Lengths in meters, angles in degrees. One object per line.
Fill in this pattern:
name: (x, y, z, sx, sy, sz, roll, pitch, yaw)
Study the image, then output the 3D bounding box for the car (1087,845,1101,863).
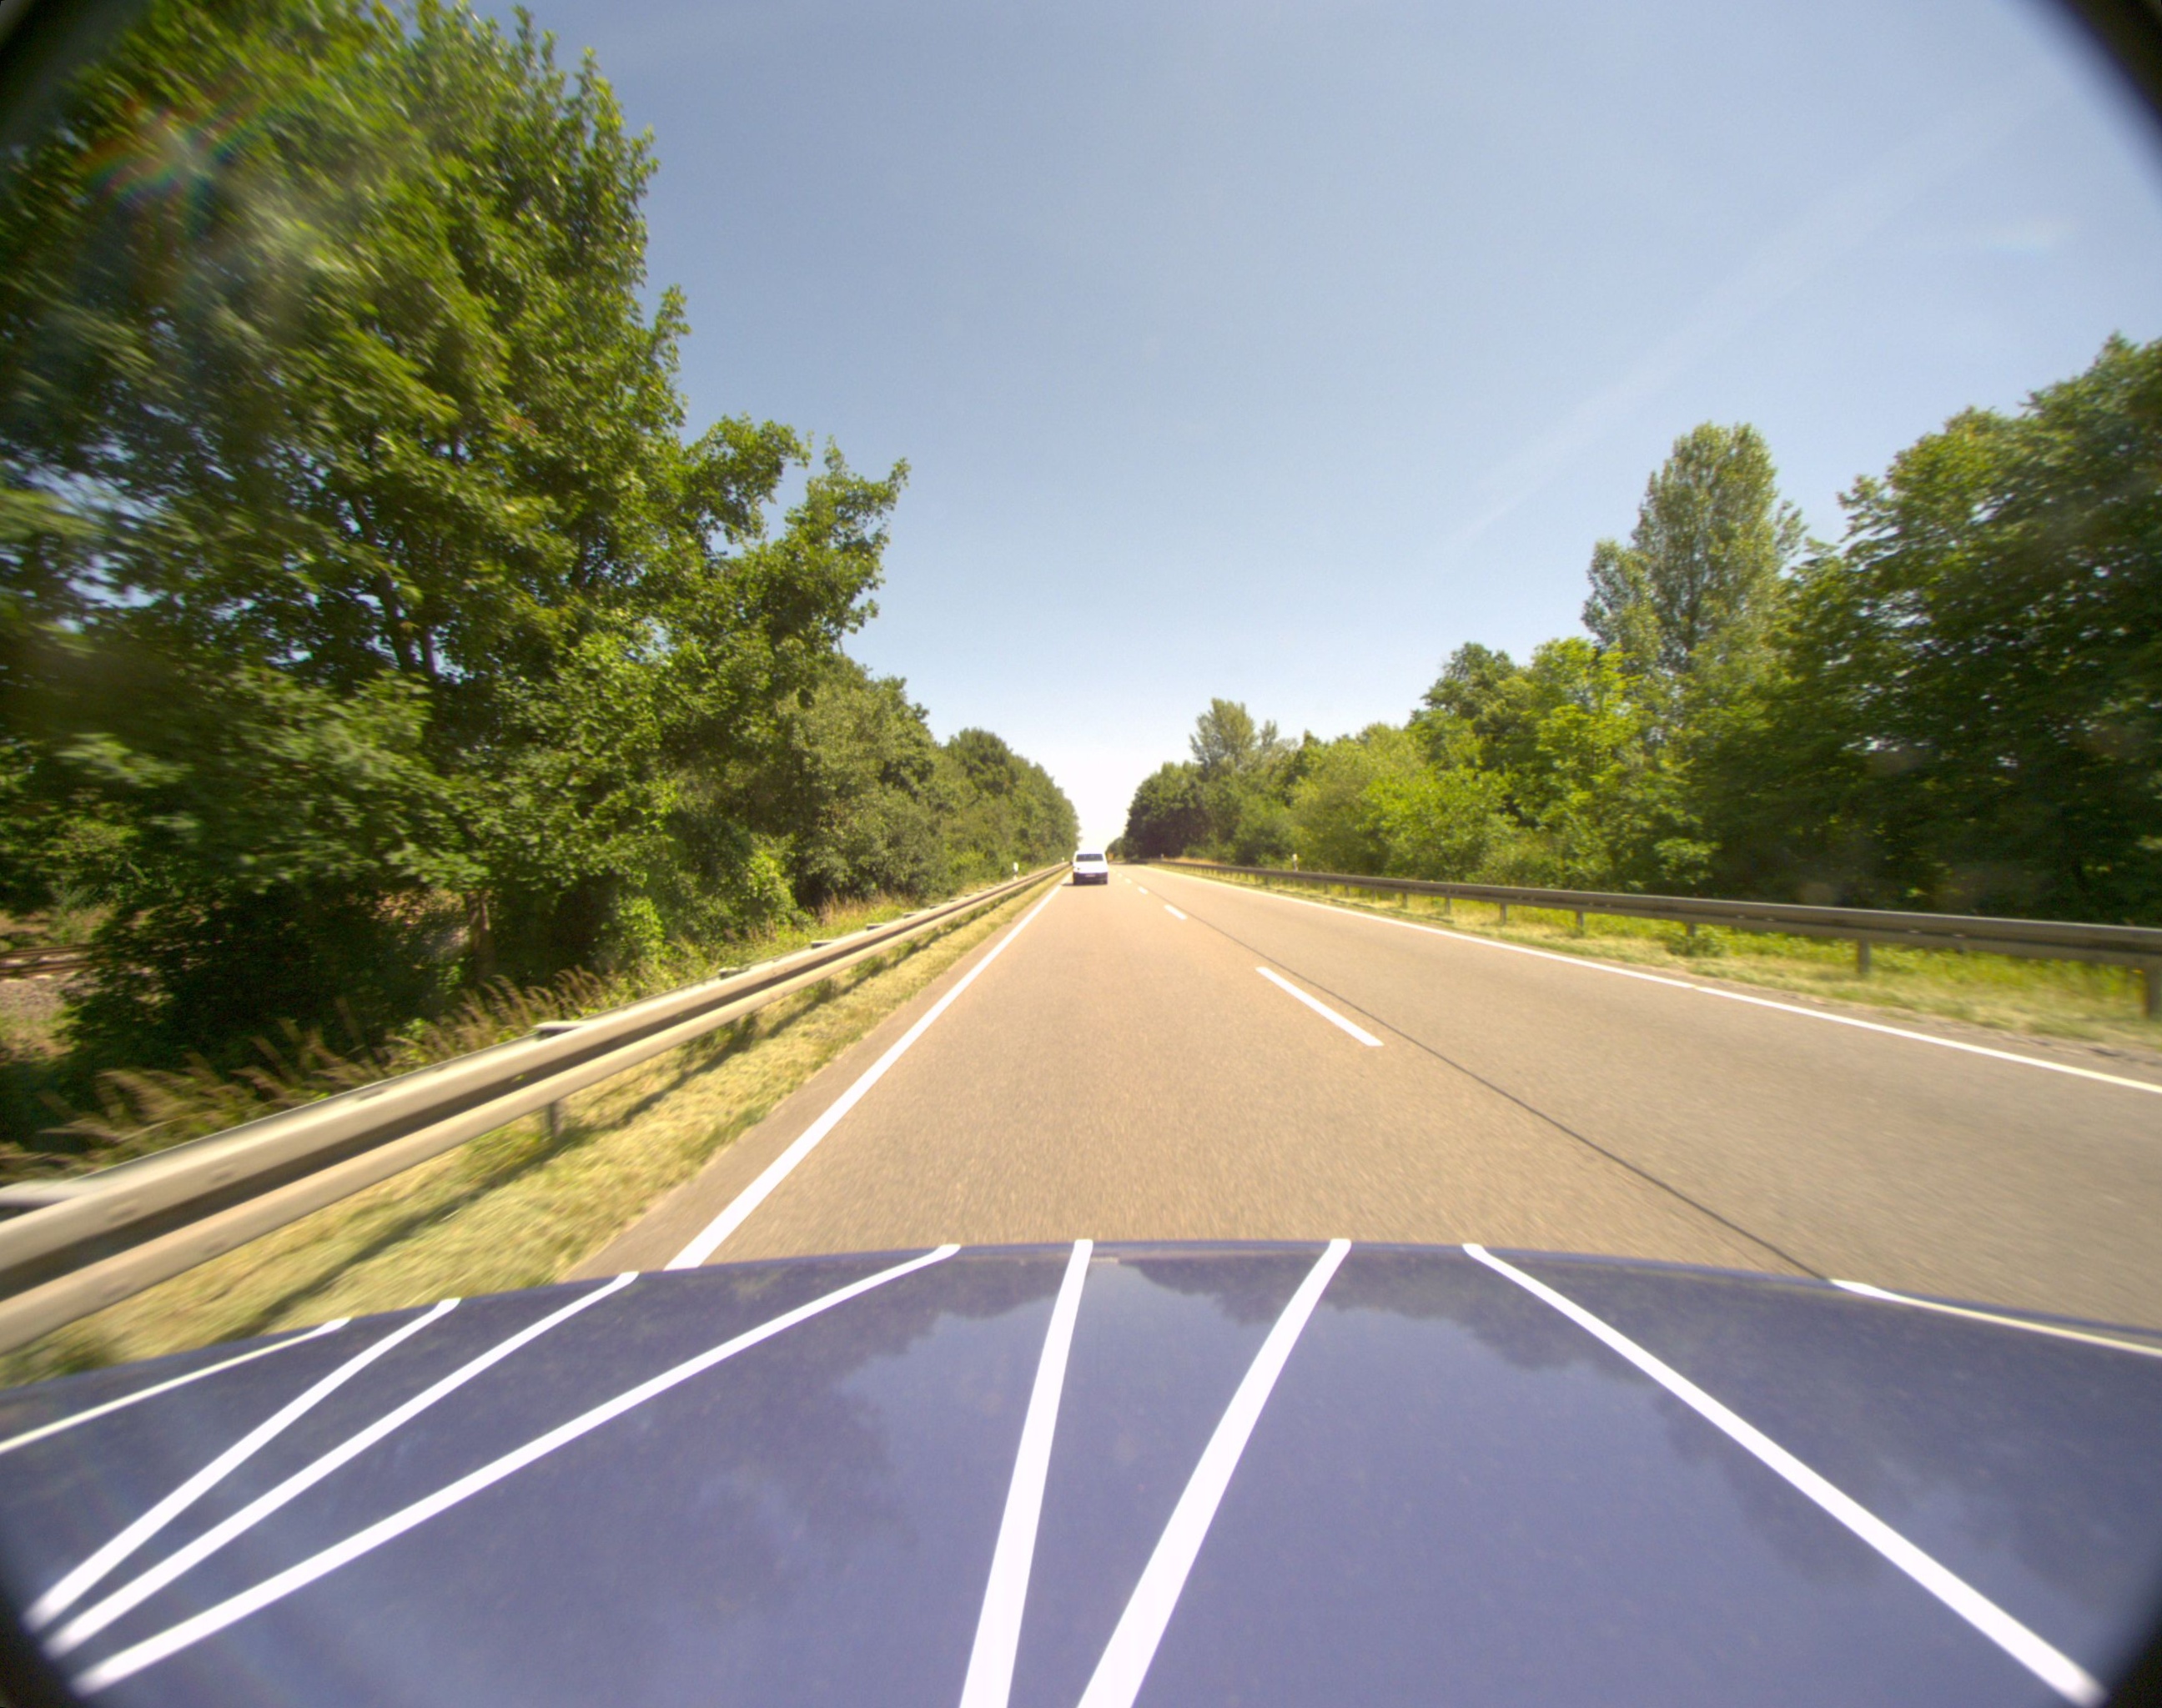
car: (1.788, -0.003, 102.067, 1.782, 2.287, 4.106, -2, -1, 1)

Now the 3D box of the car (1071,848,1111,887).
car: (0.512, 0.654, 37.434, 1.782, 1.743, 4.513, -2, -1, 1)
